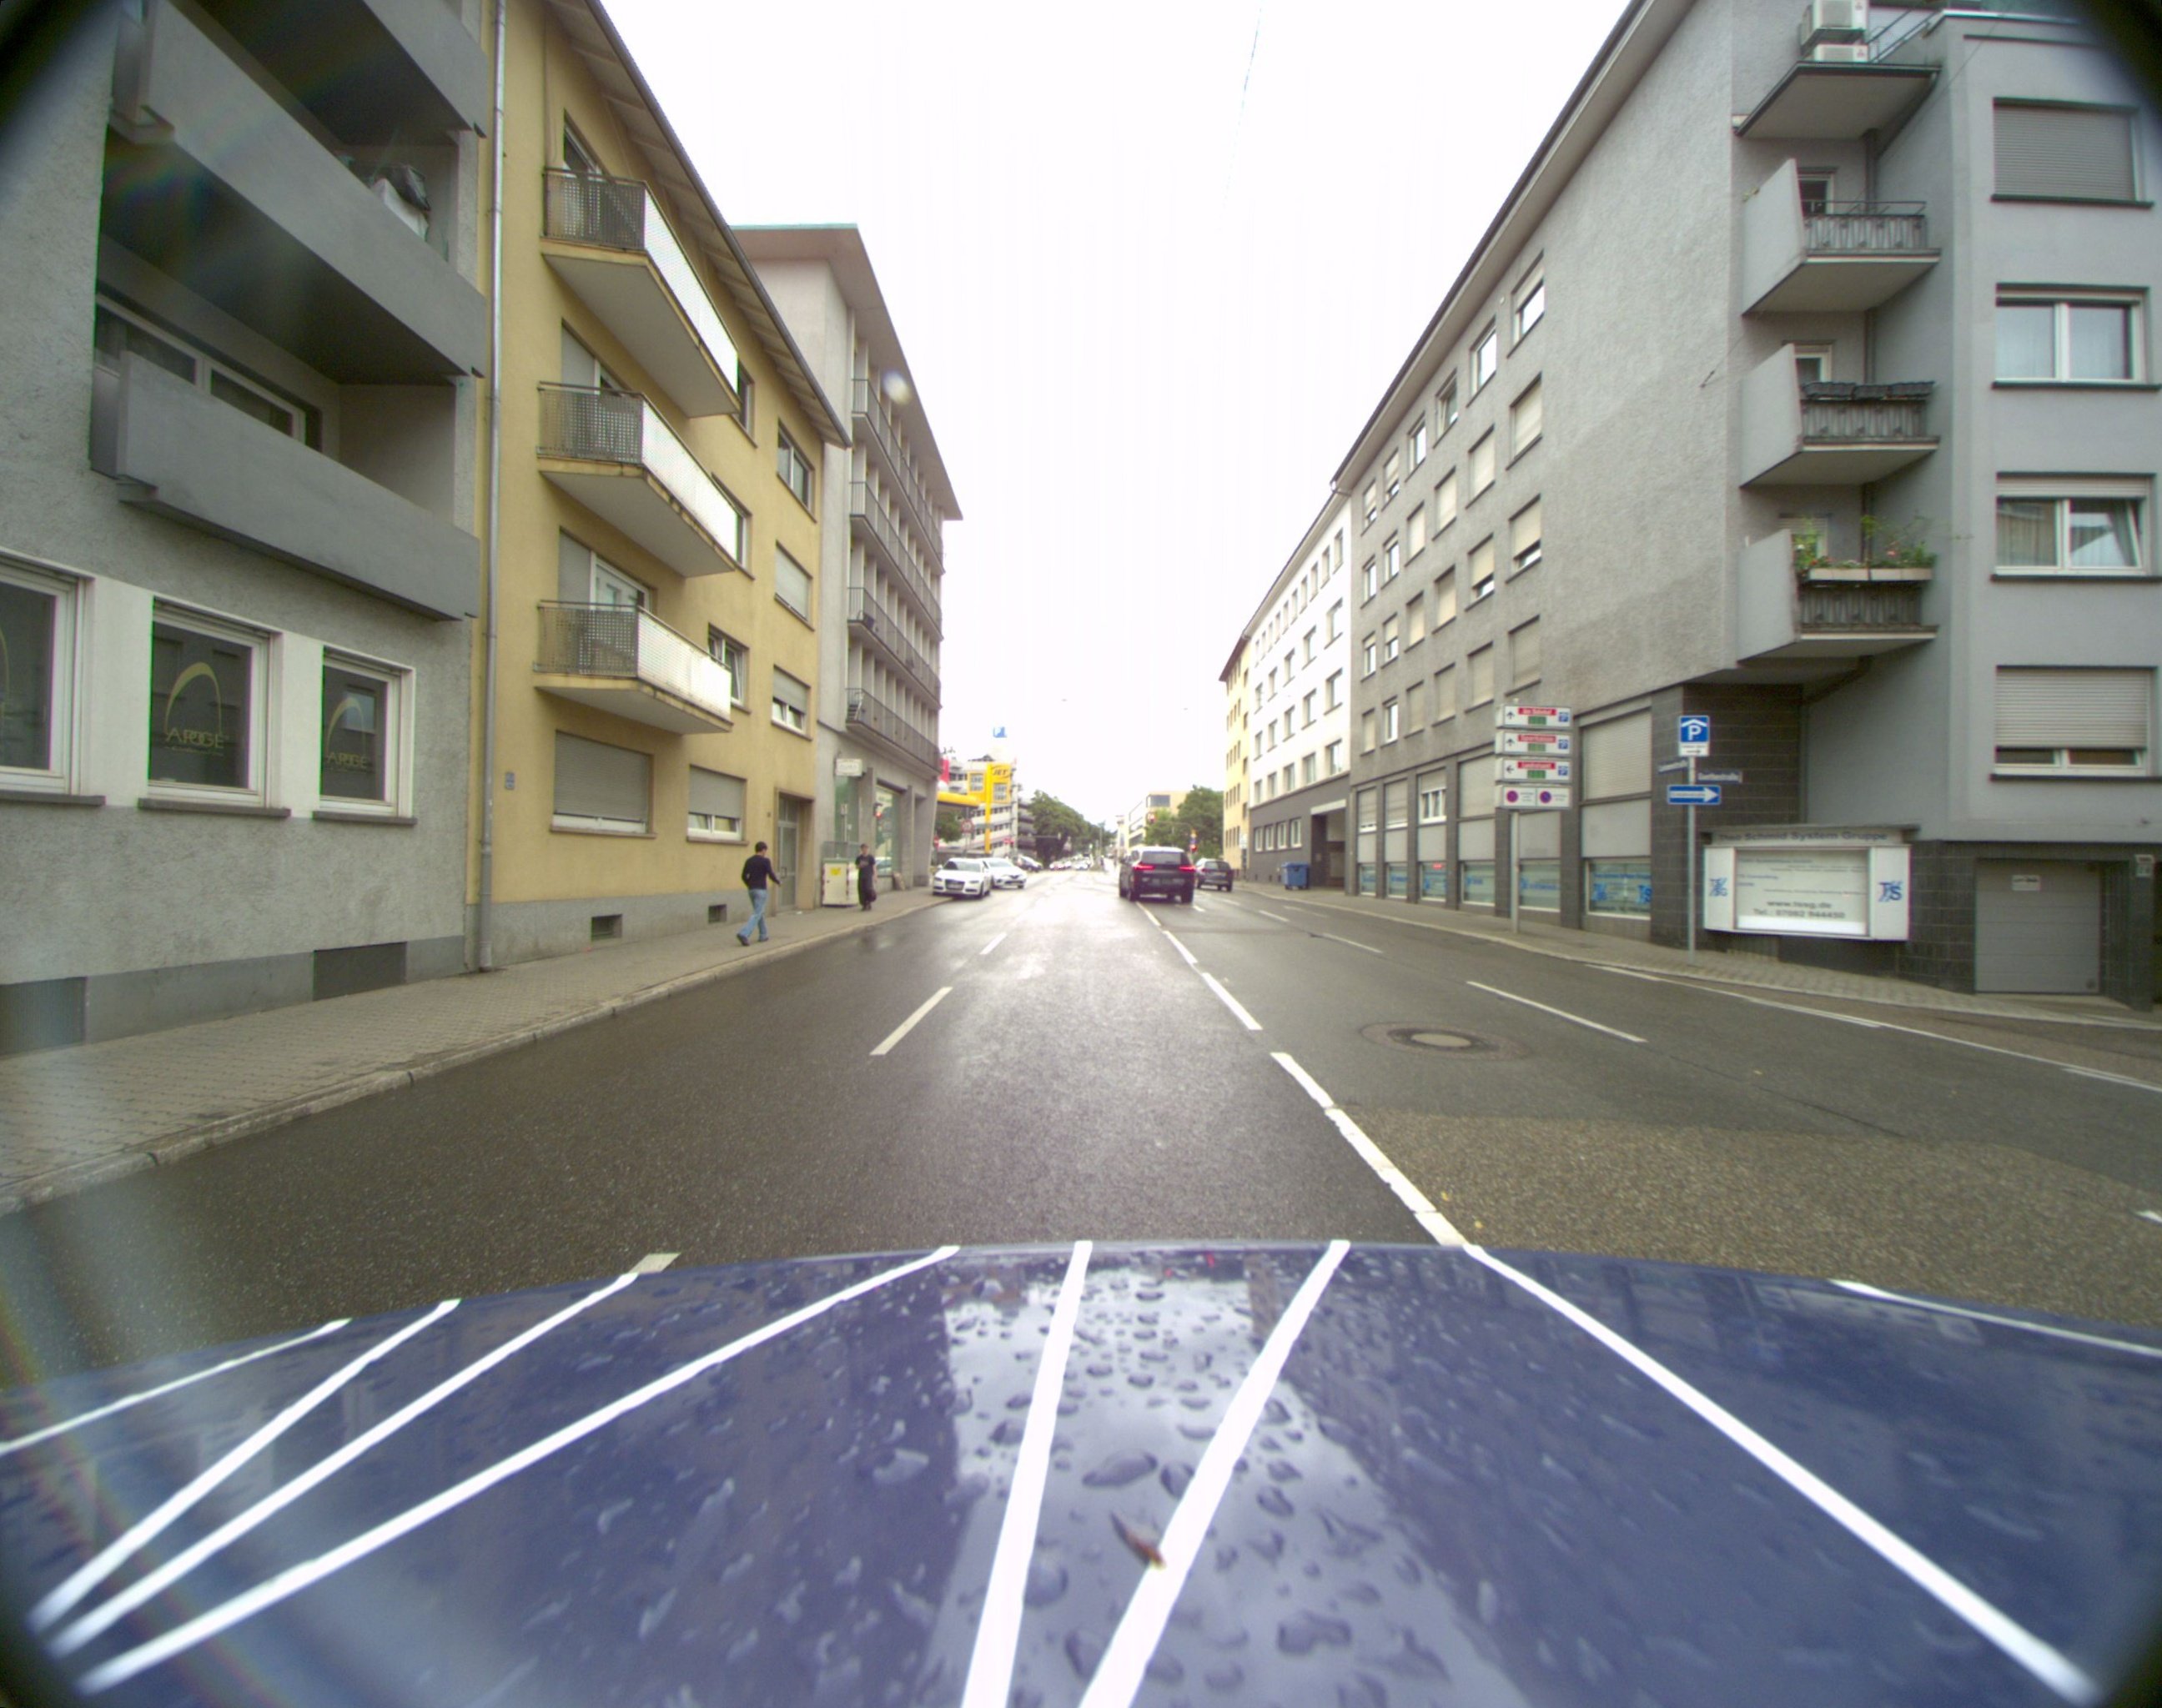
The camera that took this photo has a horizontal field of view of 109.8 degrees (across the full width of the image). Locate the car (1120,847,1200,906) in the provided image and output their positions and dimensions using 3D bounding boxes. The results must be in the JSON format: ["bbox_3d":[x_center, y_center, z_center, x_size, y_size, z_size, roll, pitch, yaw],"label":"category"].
[{"bbox_3d":[2.513,0.662,25.442,2.132,1.711,4.817,2,0,0],"label":"car"}]

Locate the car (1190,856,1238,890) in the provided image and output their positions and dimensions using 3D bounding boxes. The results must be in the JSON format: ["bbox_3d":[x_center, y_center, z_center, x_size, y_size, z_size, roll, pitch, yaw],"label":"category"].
[{"bbox_3d":[6.729,0.928,38.788,1.707,1.498,4.159,3,0,0],"label":"car"}]

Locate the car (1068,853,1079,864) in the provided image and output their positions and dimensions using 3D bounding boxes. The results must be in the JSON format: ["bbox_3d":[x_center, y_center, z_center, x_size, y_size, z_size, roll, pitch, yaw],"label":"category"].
[{"bbox_3d":[-1.496,0.850,148.281,1.998,2.002,3.999,-2,1,0],"label":"car"}]

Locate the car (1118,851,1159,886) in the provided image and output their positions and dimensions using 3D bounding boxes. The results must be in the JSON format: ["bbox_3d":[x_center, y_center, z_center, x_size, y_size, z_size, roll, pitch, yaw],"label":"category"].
[{"bbox_3d":[3.063,0.718,41.417,1.841,1.717,4.474,3,0,0],"label":"car"}]

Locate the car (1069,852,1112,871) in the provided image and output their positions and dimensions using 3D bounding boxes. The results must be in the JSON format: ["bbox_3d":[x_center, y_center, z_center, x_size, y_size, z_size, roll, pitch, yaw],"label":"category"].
[{"bbox_3d":[0.958,0.732,75.874,3.994,1.751,2.001,1,1,9],"label":"car"}]

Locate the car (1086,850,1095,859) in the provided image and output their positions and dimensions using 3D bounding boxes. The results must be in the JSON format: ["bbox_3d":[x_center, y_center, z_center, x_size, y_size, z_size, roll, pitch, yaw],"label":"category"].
[{"bbox_3d":[2.134,0.093,178.637,1.998,2.002,3.999,-2,1,1],"label":"car"}]

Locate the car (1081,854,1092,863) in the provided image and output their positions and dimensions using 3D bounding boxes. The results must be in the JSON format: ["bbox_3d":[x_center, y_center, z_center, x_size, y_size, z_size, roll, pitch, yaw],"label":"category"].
[{"bbox_3d":[1.090,0.941,153.173,1.999,1.736,3.998,-2,1,-2],"label":"car"}]

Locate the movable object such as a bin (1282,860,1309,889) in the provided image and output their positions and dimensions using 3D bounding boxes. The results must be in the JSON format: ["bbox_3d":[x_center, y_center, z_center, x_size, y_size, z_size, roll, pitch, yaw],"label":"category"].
[{"bbox_3d":[10.382,0.993,36.784,0.946,1.325,1.096,-3,1,1],"label":"movable object such as a bin"}]

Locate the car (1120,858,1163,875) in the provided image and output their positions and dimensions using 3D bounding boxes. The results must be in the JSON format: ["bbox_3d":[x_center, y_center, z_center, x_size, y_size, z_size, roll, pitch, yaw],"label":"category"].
[{"bbox_3d":[5.791,1.173,73.157,3.996,1.499,1.738,1,1,2],"label":"car"}]

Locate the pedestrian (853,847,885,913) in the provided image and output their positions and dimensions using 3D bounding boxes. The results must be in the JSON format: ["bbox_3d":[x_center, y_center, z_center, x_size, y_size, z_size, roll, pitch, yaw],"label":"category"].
[{"bbox_3d":[-5.687,0.679,20.410,0.679,1.745,0.887,1,1,-7],"label":"pedestrian"}]

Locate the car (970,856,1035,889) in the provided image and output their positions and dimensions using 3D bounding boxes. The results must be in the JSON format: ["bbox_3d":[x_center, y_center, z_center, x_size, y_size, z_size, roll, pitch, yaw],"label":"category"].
[{"bbox_3d":[-3.912,0.880,37.357,1.774,1.465,3.991,-3,0,-28],"label":"car"}]

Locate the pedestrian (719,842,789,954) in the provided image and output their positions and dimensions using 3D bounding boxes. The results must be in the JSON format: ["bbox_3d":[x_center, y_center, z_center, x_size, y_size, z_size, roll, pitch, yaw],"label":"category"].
[{"bbox_3d":[-5.447,0.705,12.725,0.644,1.768,1.056,3,1,0],"label":"pedestrian"}]

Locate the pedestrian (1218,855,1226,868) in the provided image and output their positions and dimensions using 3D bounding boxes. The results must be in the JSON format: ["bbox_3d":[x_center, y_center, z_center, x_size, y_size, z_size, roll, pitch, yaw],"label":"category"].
[{"bbox_3d":[12.973,0.672,69.857,0.582,1.143,0.407,3,1,2],"label":"pedestrian"}]

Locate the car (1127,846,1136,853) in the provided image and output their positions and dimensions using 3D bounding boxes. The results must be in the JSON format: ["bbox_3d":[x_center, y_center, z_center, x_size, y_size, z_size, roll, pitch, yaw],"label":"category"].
[{"bbox_3d":[12.828,-1.123,192.904,1.998,1.683,4.000,-2,1,2],"label":"car"}]

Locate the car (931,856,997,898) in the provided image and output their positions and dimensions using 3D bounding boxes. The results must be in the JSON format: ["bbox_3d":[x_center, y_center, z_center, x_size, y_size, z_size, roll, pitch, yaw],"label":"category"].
[{"bbox_3d":[-4.376,0.820,29.077,1.803,1.427,4.166,1,0,1],"label":"car"}]
